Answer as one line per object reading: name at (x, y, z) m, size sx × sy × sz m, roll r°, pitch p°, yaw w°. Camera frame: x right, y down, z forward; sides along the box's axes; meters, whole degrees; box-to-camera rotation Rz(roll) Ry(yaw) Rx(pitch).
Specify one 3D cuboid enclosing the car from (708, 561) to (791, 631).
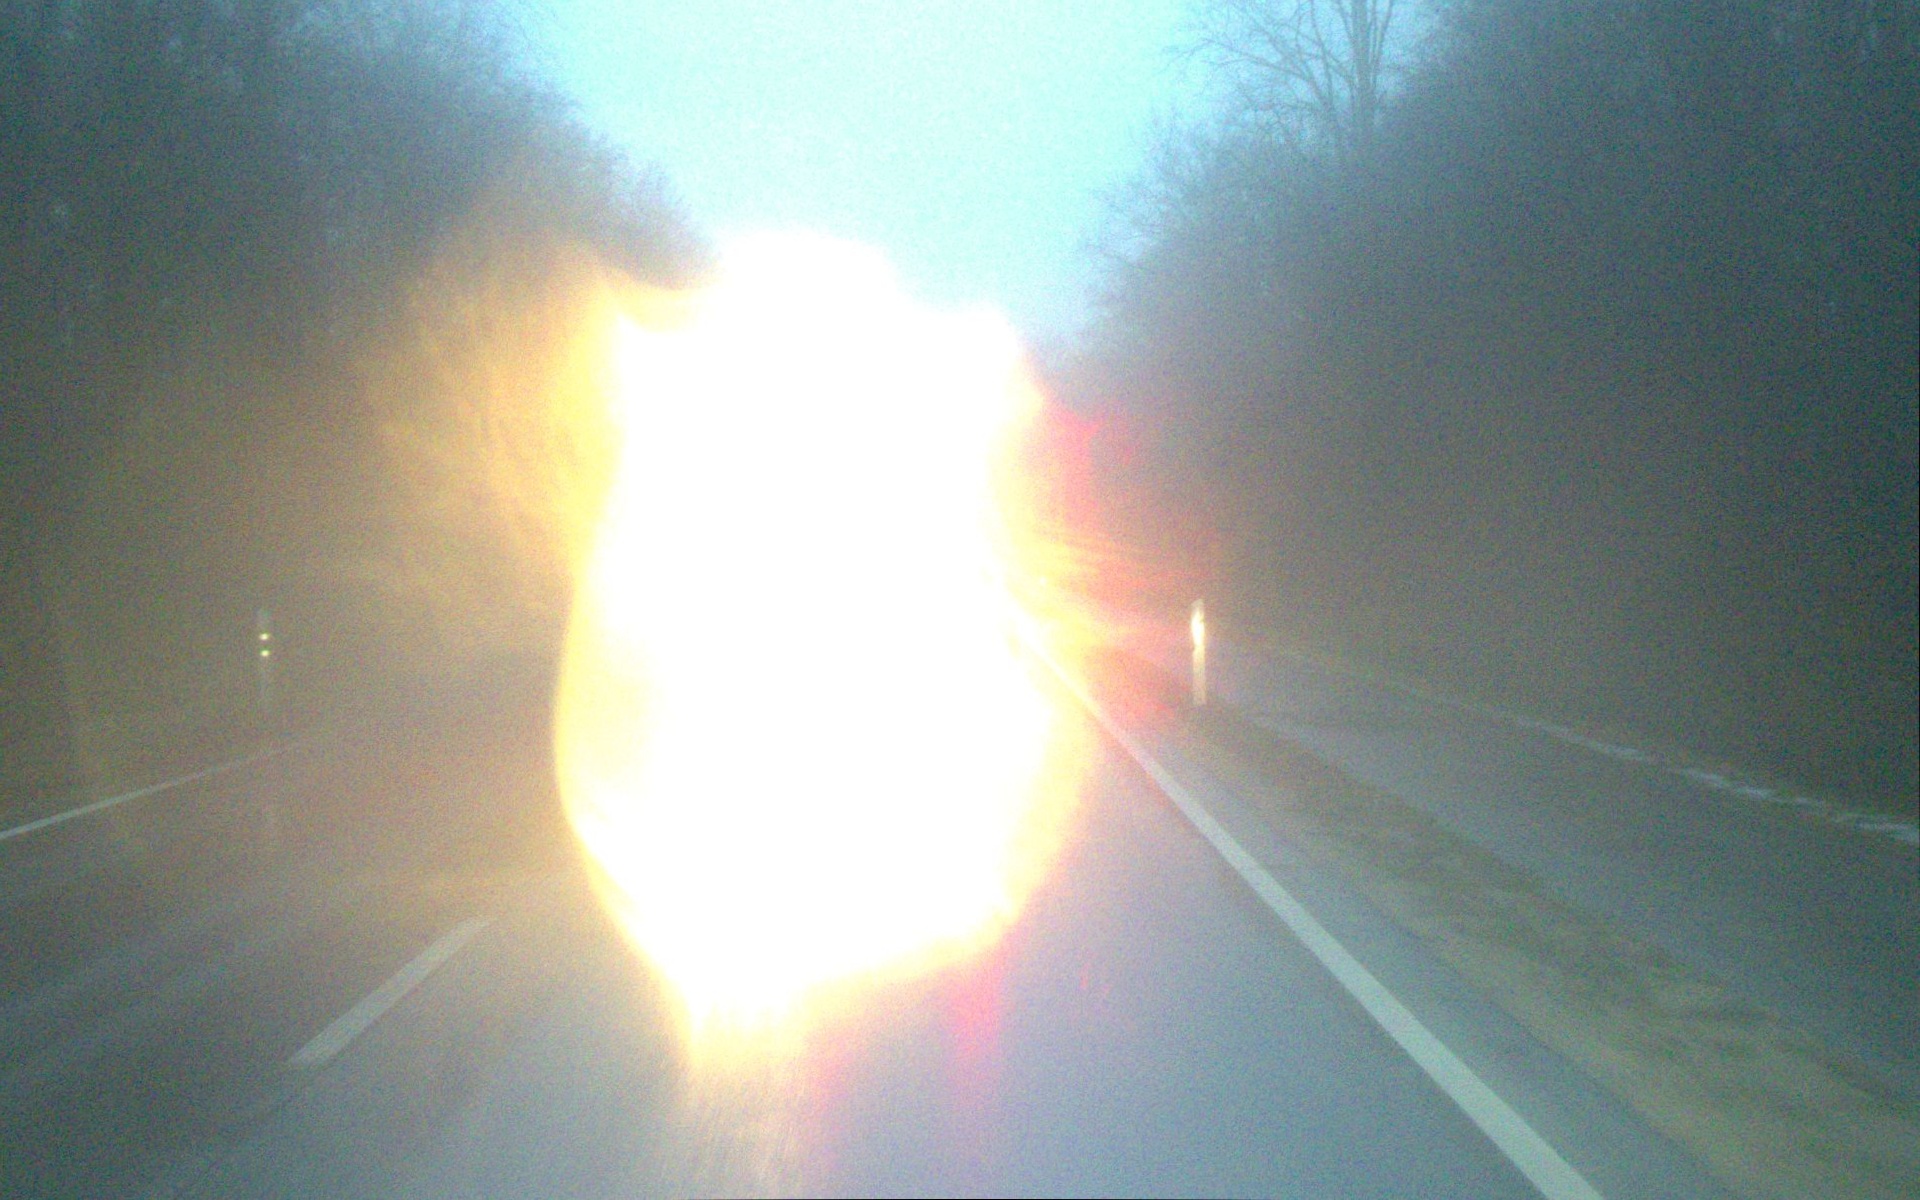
car at (-4.484, -0.114, 73.470) m, size 1.513 × 1.409 × 3.661 m, roll -1°, pitch 1°, yaw 0°
